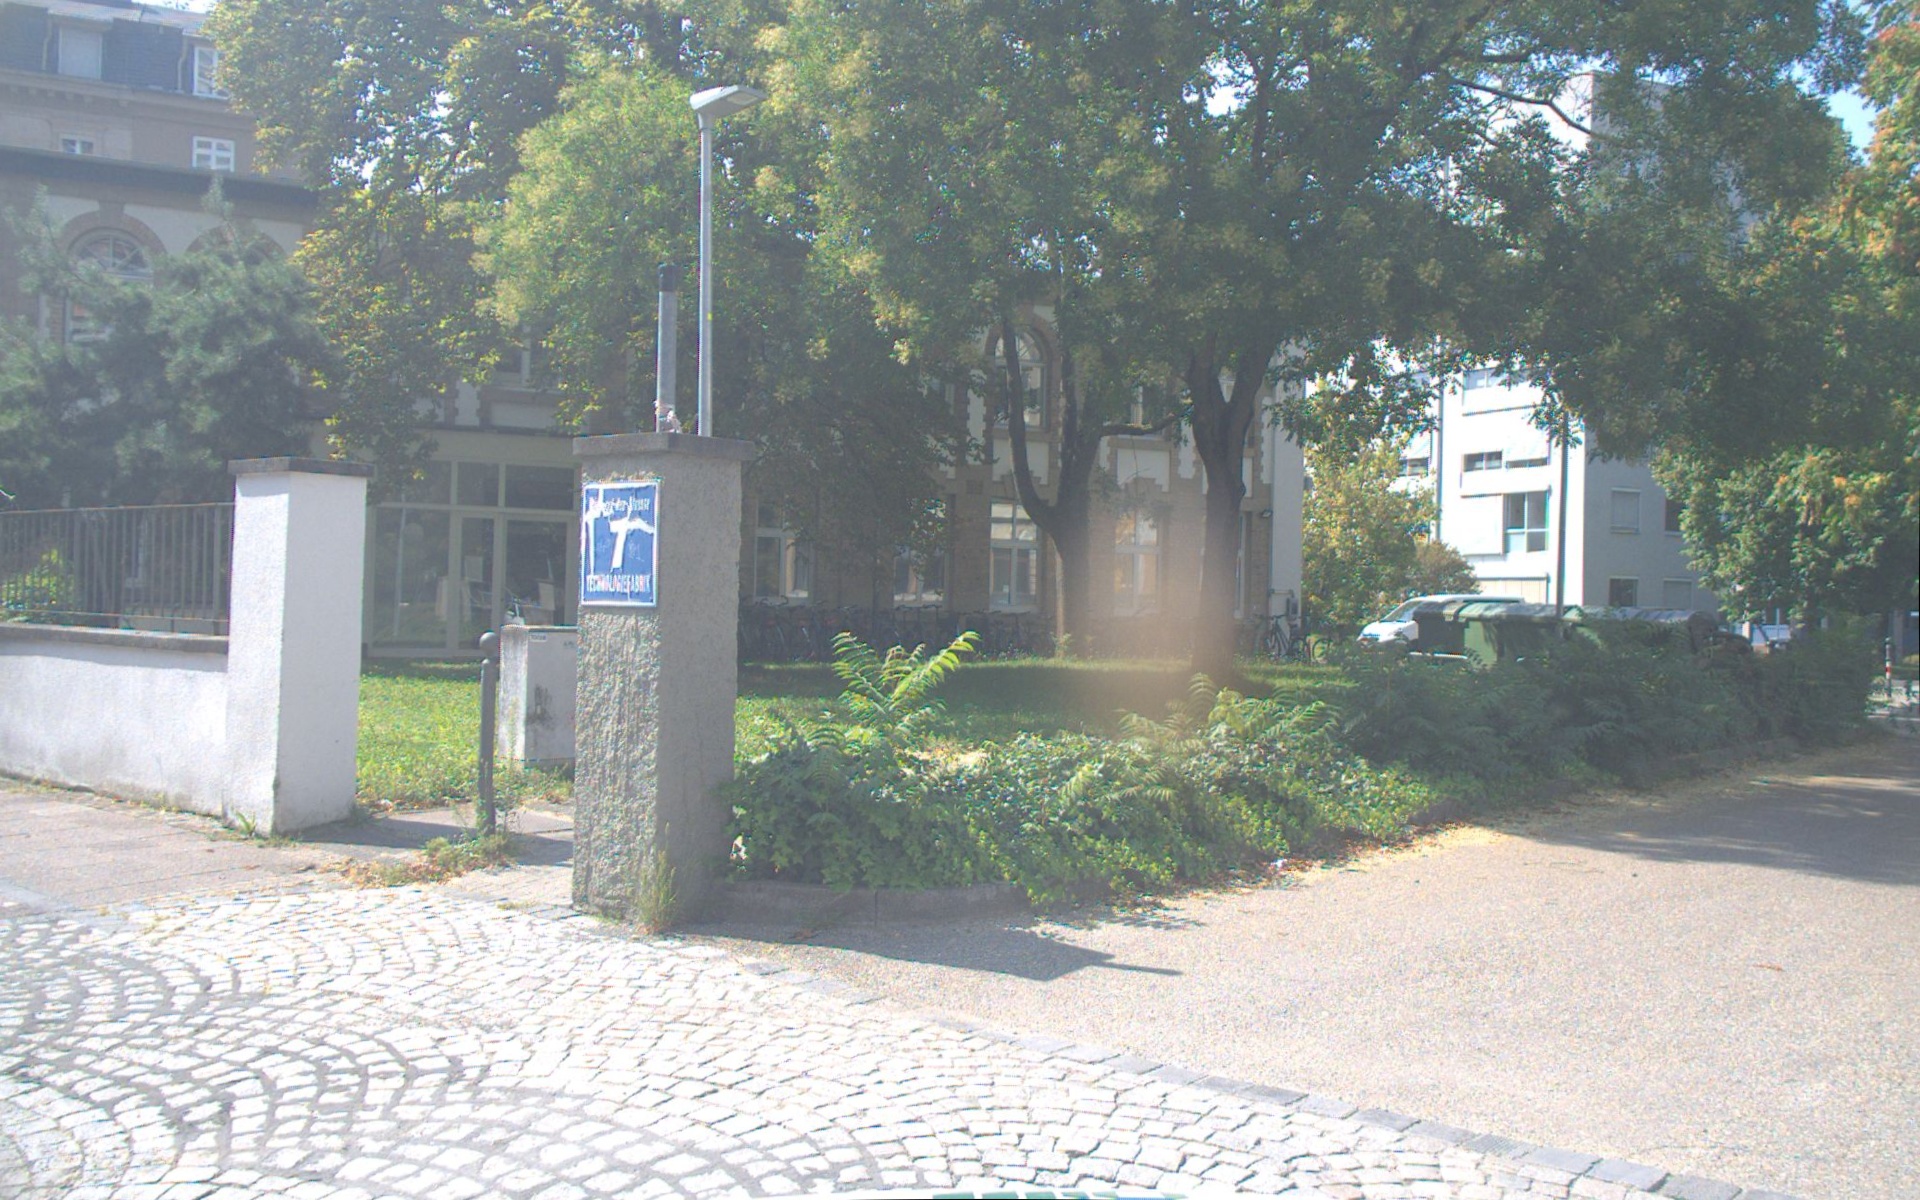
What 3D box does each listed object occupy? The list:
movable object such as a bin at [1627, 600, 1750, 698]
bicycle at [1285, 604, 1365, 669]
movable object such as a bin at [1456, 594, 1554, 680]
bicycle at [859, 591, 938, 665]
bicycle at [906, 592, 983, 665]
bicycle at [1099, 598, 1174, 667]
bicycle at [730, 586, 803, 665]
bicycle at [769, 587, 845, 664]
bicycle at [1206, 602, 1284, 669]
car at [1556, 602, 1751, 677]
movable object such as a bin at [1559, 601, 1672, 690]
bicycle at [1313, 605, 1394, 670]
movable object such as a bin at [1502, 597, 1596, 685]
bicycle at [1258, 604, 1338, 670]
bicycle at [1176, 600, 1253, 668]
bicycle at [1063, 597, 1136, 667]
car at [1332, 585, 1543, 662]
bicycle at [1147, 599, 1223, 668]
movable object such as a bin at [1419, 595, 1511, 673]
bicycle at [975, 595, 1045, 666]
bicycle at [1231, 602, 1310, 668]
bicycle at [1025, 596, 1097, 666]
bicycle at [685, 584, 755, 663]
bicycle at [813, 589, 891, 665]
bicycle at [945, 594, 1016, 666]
[{"bbox_3d":[11.947,0.793,27.140,1.322,1.519,1.355,2,0,-38],"label":"movable object such as a bin"},{"bbox_3d":[7.682,0.755,34.891,0.598,1.325,2.161,2,-1,-19],"label":"bicycle"},{"bbox_3d":[10.198,0.684,30.969,1.232,1.521,1.195,2,0,-29],"label":"movable object such as a bin"},{"bbox_3d":[-1.191,0.508,31.106,0.758,1.325,2.512,2,-1,-19],"label":"bicycle"},{"bbox_3d":[-0.318,0.534,31.477,0.758,1.325,2.260,2,-1,-19],"label":"bicycle"},{"bbox_3d":[3.516,0.631,33.105,0.598,1.325,2.161,2,-1,-19],"label":"bicycle"},{"bbox_3d":[-3.484,0.443,29.574,0.758,1.325,2.512,2,-1,-19],"label":"bicycle"},{"bbox_3d":[-2.802,0.450,30.009,0.758,1.325,2.512,2,-1,-19],"label":"bicycle"},{"bbox_3d":[5.843,0.712,34.034,0.598,1.325,2.161,2,-1,-19],"label":"bicycle"},{"bbox_3d":[15.498,0.880,37.001,3.838,1.554,1.699,2,0,-17],"label":"car"},{"bbox_3d":[11.323,0.784,28.596,1.232,1.456,1.319,2,0,-30],"label":"movable object such as a bin"},{"bbox_3d":[8.376,0.778,35.290,0.598,1.325,2.161,2,-1,-19],"label":"bicycle"},{"bbox_3d":[10.519,0.724,29.551,1.085,1.507,1.091,2,0,-29],"label":"movable object such as a bin"},{"bbox_3d":[7.057,0.757,34.643,0.598,1.325,2.161,2,-1,-19],"label":"bicycle"},{"bbox_3d":[5.184,0.680,33.885,0.598,1.325,2.161,2,-1,-19],"label":"bicycle"},{"bbox_3d":[2.736,0.615,32.749,0.598,1.325,2.161,2,-1,-19],"label":"bicycle"},{"bbox_3d":[12.849,0.631,44.586,4.995,1.914,2.487,2,0,-21],"label":"car"},{"bbox_3d":[4.538,0.662,33.471,0.598,1.325,2.161,2,-1,-19],"label":"bicycle"},{"bbox_3d":[9.987,0.676,32.746,1.232,1.469,1.195,2,0,-29],"label":"movable object such as a bin"},{"bbox_3d":[0.959,0.573,32.101,0.598,1.325,2.161,2,-1,-19],"label":"bicycle"},{"bbox_3d":[6.434,0.705,34.381,0.598,1.325,2.161,2,-1,-19],"label":"bicycle"},{"bbox_3d":[1.971,0.599,32.639,0.598,1.325,2.161,2,-1,-19],"label":"bicycle"},{"bbox_3d":[-4.289,0.408,29.406,0.758,1.325,2.512,2,-1,-19],"label":"bicycle"},{"bbox_3d":[-2.018,0.489,30.450,0.758,1.325,2.512,2,-1,-19],"label":"bicycle"},{"bbox_3d":[0.368,0.558,31.828,0.616,1.325,2.260,2,-1,-19],"label":"bicycle"}]
